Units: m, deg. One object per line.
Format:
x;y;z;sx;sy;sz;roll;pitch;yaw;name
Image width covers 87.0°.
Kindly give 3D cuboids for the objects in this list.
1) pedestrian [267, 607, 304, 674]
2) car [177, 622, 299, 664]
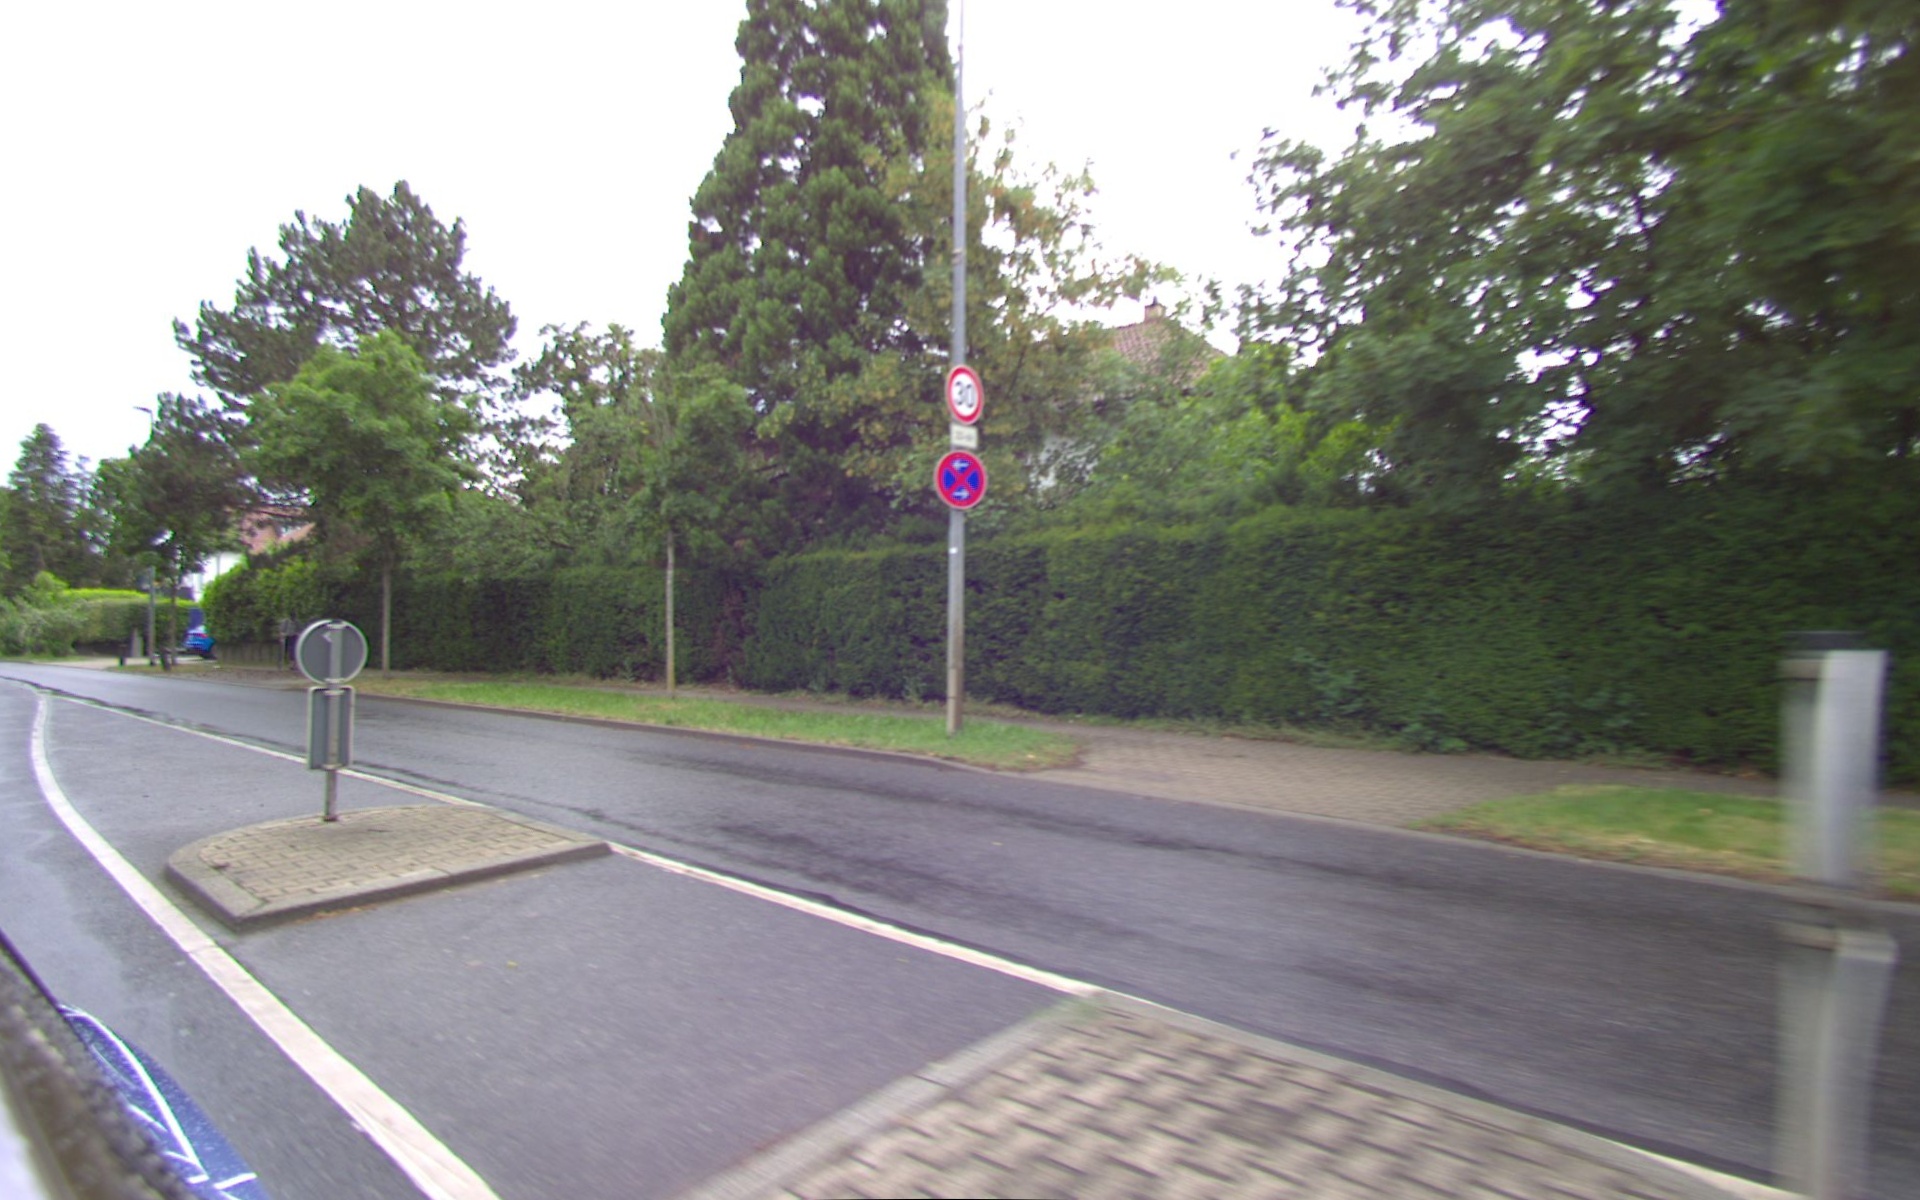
-18.965;1.130;28.453;0.703;1.844;0.882;-1;-1;-44;pedestrian
-30.192;1.753;42.392;1.815;1.598;3.815;-2;-1;37;car
